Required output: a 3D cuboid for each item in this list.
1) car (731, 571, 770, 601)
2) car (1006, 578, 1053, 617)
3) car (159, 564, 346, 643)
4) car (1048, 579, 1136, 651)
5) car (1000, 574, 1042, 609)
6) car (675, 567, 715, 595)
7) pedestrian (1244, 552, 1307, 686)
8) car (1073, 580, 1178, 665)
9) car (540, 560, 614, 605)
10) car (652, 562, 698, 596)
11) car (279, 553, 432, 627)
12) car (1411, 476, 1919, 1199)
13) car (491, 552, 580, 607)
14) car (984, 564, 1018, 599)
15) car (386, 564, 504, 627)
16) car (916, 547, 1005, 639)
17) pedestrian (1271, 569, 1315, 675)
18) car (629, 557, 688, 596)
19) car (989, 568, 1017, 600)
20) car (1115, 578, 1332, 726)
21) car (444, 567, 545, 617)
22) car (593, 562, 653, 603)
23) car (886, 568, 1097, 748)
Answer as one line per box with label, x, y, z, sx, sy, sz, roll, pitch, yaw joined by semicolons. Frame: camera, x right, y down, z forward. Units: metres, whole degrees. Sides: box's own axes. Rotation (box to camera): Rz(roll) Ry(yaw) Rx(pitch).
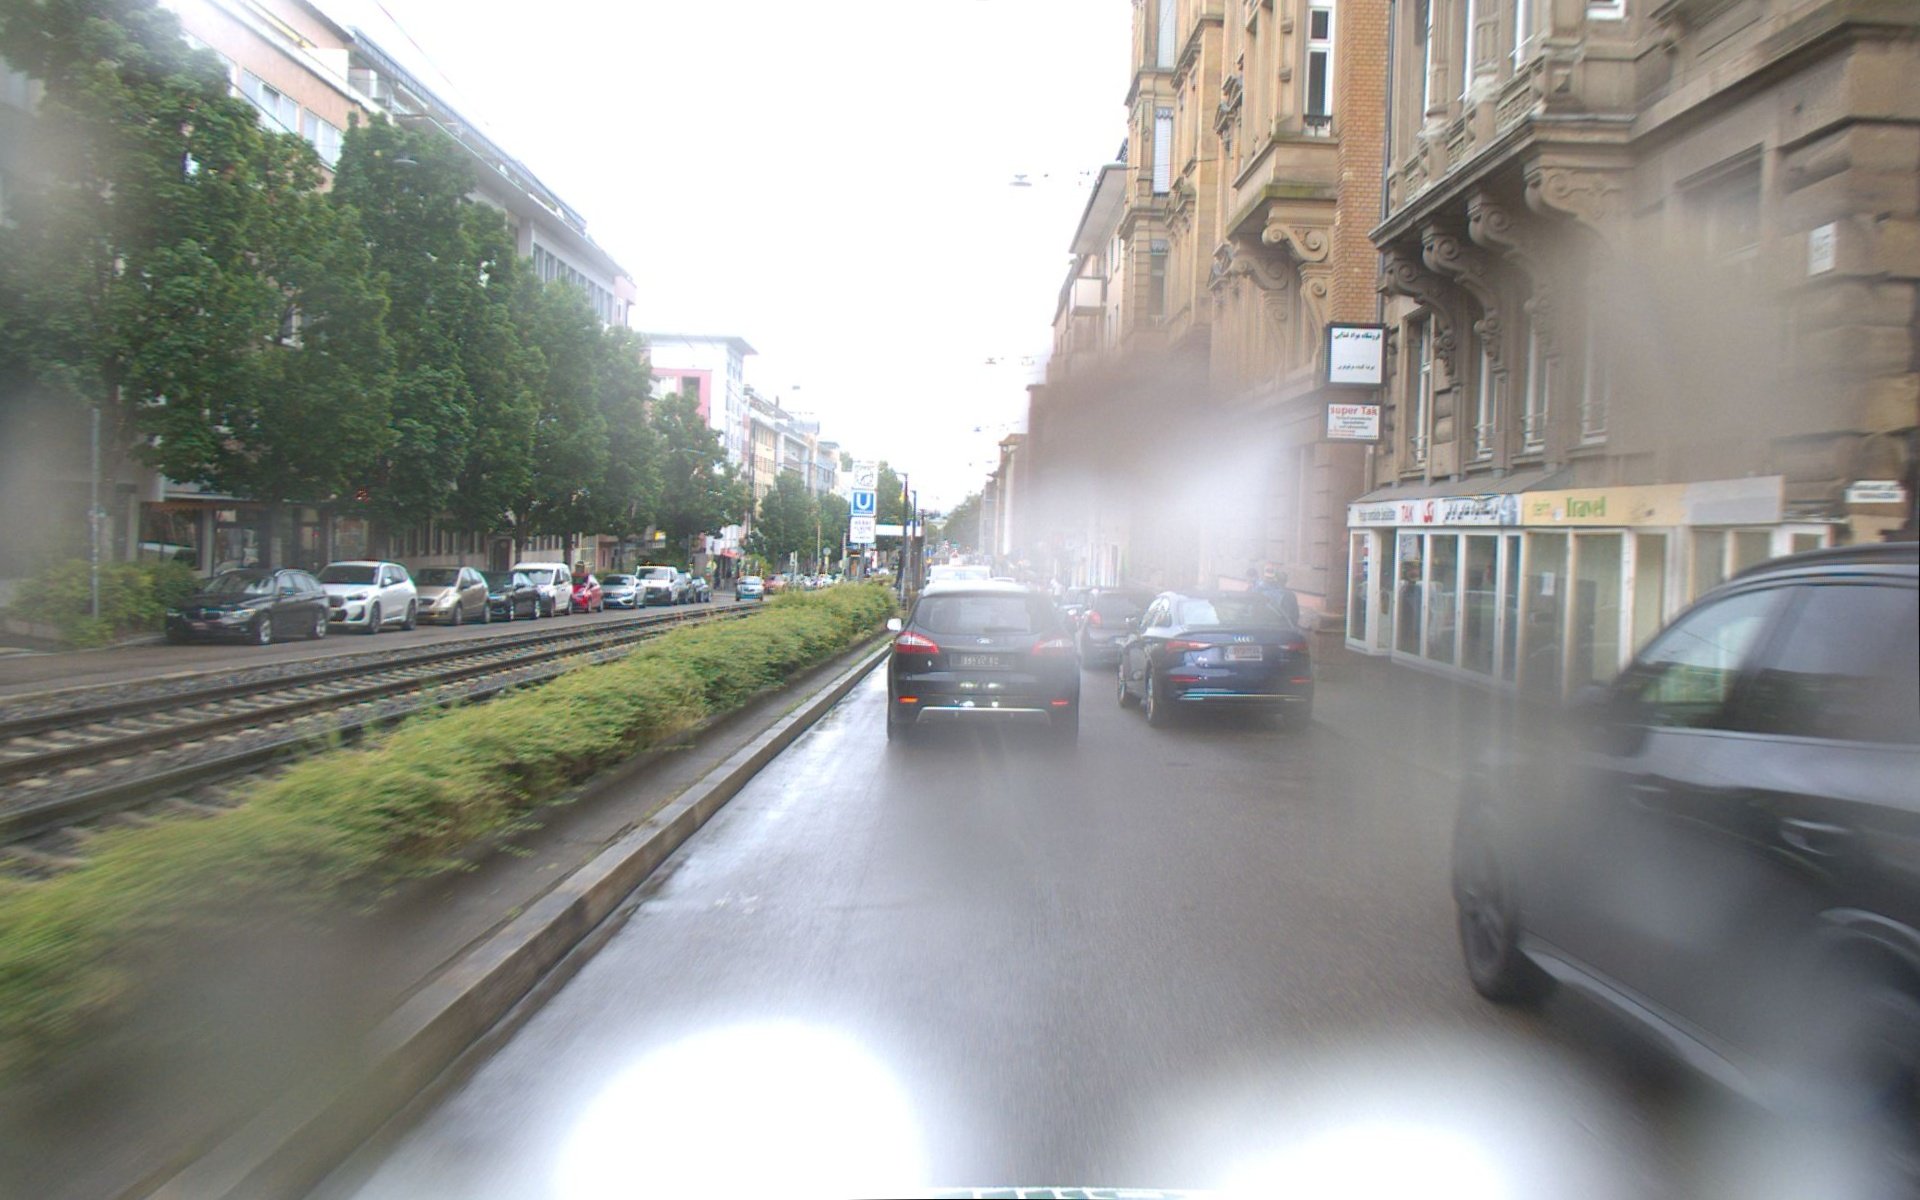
car;-12.774;-0.843;101.223;1.817;1.665;4.046;2;-1;0
car;2.695;-0.095;64.375;1.636;1.446;3.476;1;1;-1
car;-13.982;0.103;32.995;1.659;1.401;4.720;2;-1;0
car;2.869;0.299;36.598;1.545;1.485;3.820;1;1;-1
car;2.599;-0.381;70.992;1.636;1.446;3.476;1;1;-1
car;-14.608;-1.012;91.393;1.519;1.419;4.046;2;-1;0
pedestrian;4.481;0.251;23.556;0.689;1.851;0.961;-1;2;0
car;3.059;0.377;31.086;1.615;1.485;3.476;1;1;0
car;-14.401;-0.626;62.369;1.817;1.553;4.046;2;-1;0
car;-14.682;-1.061;85.351;1.660;1.601;4.046;2;-1;0
car;-14.162;-0.209;39.067;1.817;1.575;4.720;2;-1;0
car;2.799;0.616;4.604;1.807;1.661;4.586;2;0;0
car;-14.363;-0.659;56.251;1.817;1.730;4.431;2;-1;0
car;2.376;-1.061;96.997;1.801;1.812;3.778;4;-1;0
car;-14.081;-0.108;45.488;1.817;1.575;4.431;2;-1;0
car;0.083;-0.222;41.116;1.947;2.096;4.647;2;1;3
pedestrian;5.125;0.338;25.464;0.509;1.607;0.677;-1;-1;0
car;-14.329;-1.094;78.803;1.817;1.665;4.935;2;-1;0
car;2.686;-0.985;102.969;1.559;1.812;3.778;4;-1;0
car;2.861;0.534;18.811;1.755;1.431;4.257;2;0;0
car;-14.085;-0.220;50.294;1.817;1.443;4.431;-1;0;0
car;-14.117;-0.692;69.455;1.634;1.585;4.046;2;-1;0
car;0.199;0.486;16.269;1.805;1.533;3.998;1;0;-2
